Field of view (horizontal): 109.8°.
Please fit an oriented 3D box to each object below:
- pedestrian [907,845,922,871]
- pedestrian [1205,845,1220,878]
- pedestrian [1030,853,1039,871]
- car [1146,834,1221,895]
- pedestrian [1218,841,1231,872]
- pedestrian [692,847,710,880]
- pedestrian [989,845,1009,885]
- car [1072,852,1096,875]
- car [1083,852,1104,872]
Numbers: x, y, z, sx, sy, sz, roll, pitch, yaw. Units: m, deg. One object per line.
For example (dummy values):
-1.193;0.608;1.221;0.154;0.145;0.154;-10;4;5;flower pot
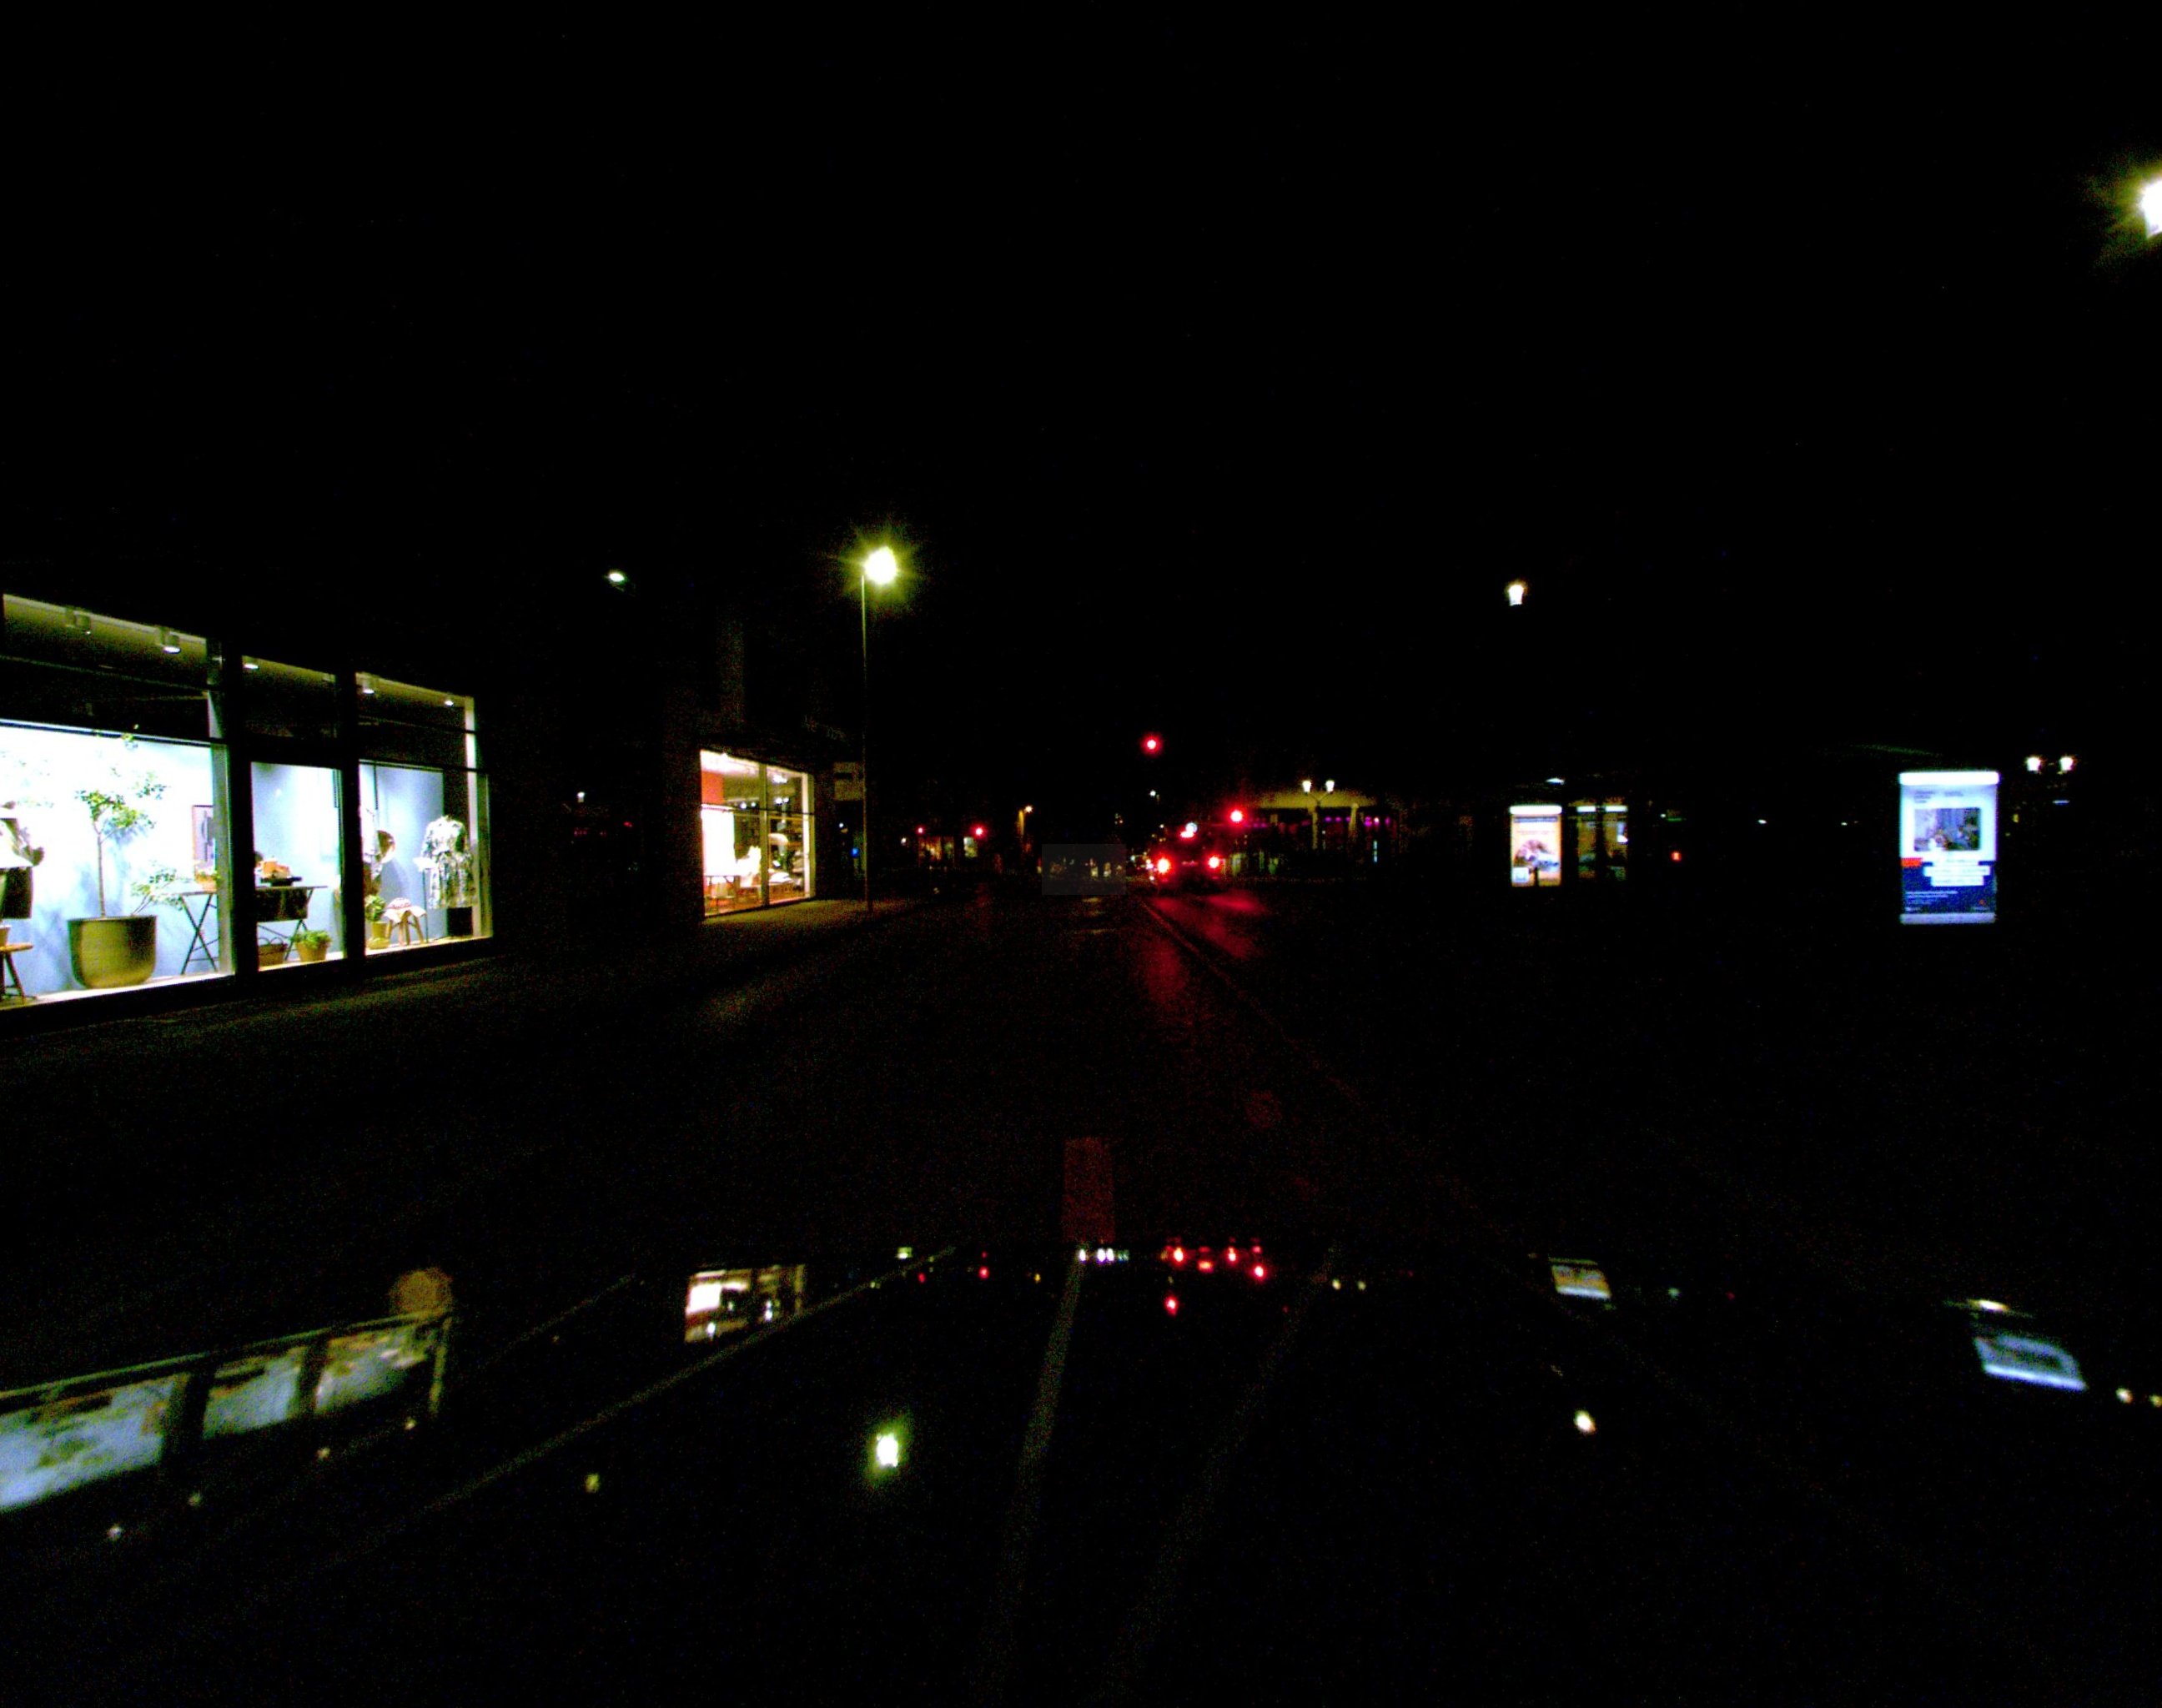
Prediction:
-11.139;0.271;50.846;0.877;1.723;0.647;0;1;4;pedestrian
6.662;0.374;38.554;0.646;1.619;0.583;-2;1;7;pedestrian
-3.921;0.667;63.578;0.647;1.487;0.830;0;1;2;pedestrian
3.365;0.306;25.911;1.971;1.861;4.911;-1;1;1;car
7.640;0.148;40.456;0.646;1.619;0.583;-2;1;11;pedestrian
-19.986;0.487;39.965;0.524;1.707;0.567;-2;1;9;pedestrian
-3.552;0.480;32.993;0.539;1.672;0.648;-2;1;23;pedestrian
0.267;0.701;60.245;1.713;1.660;3.738;-2;1;3;car
1.183;0.752;72.862;1.879;1.718;4.000;-2;1;1;car
